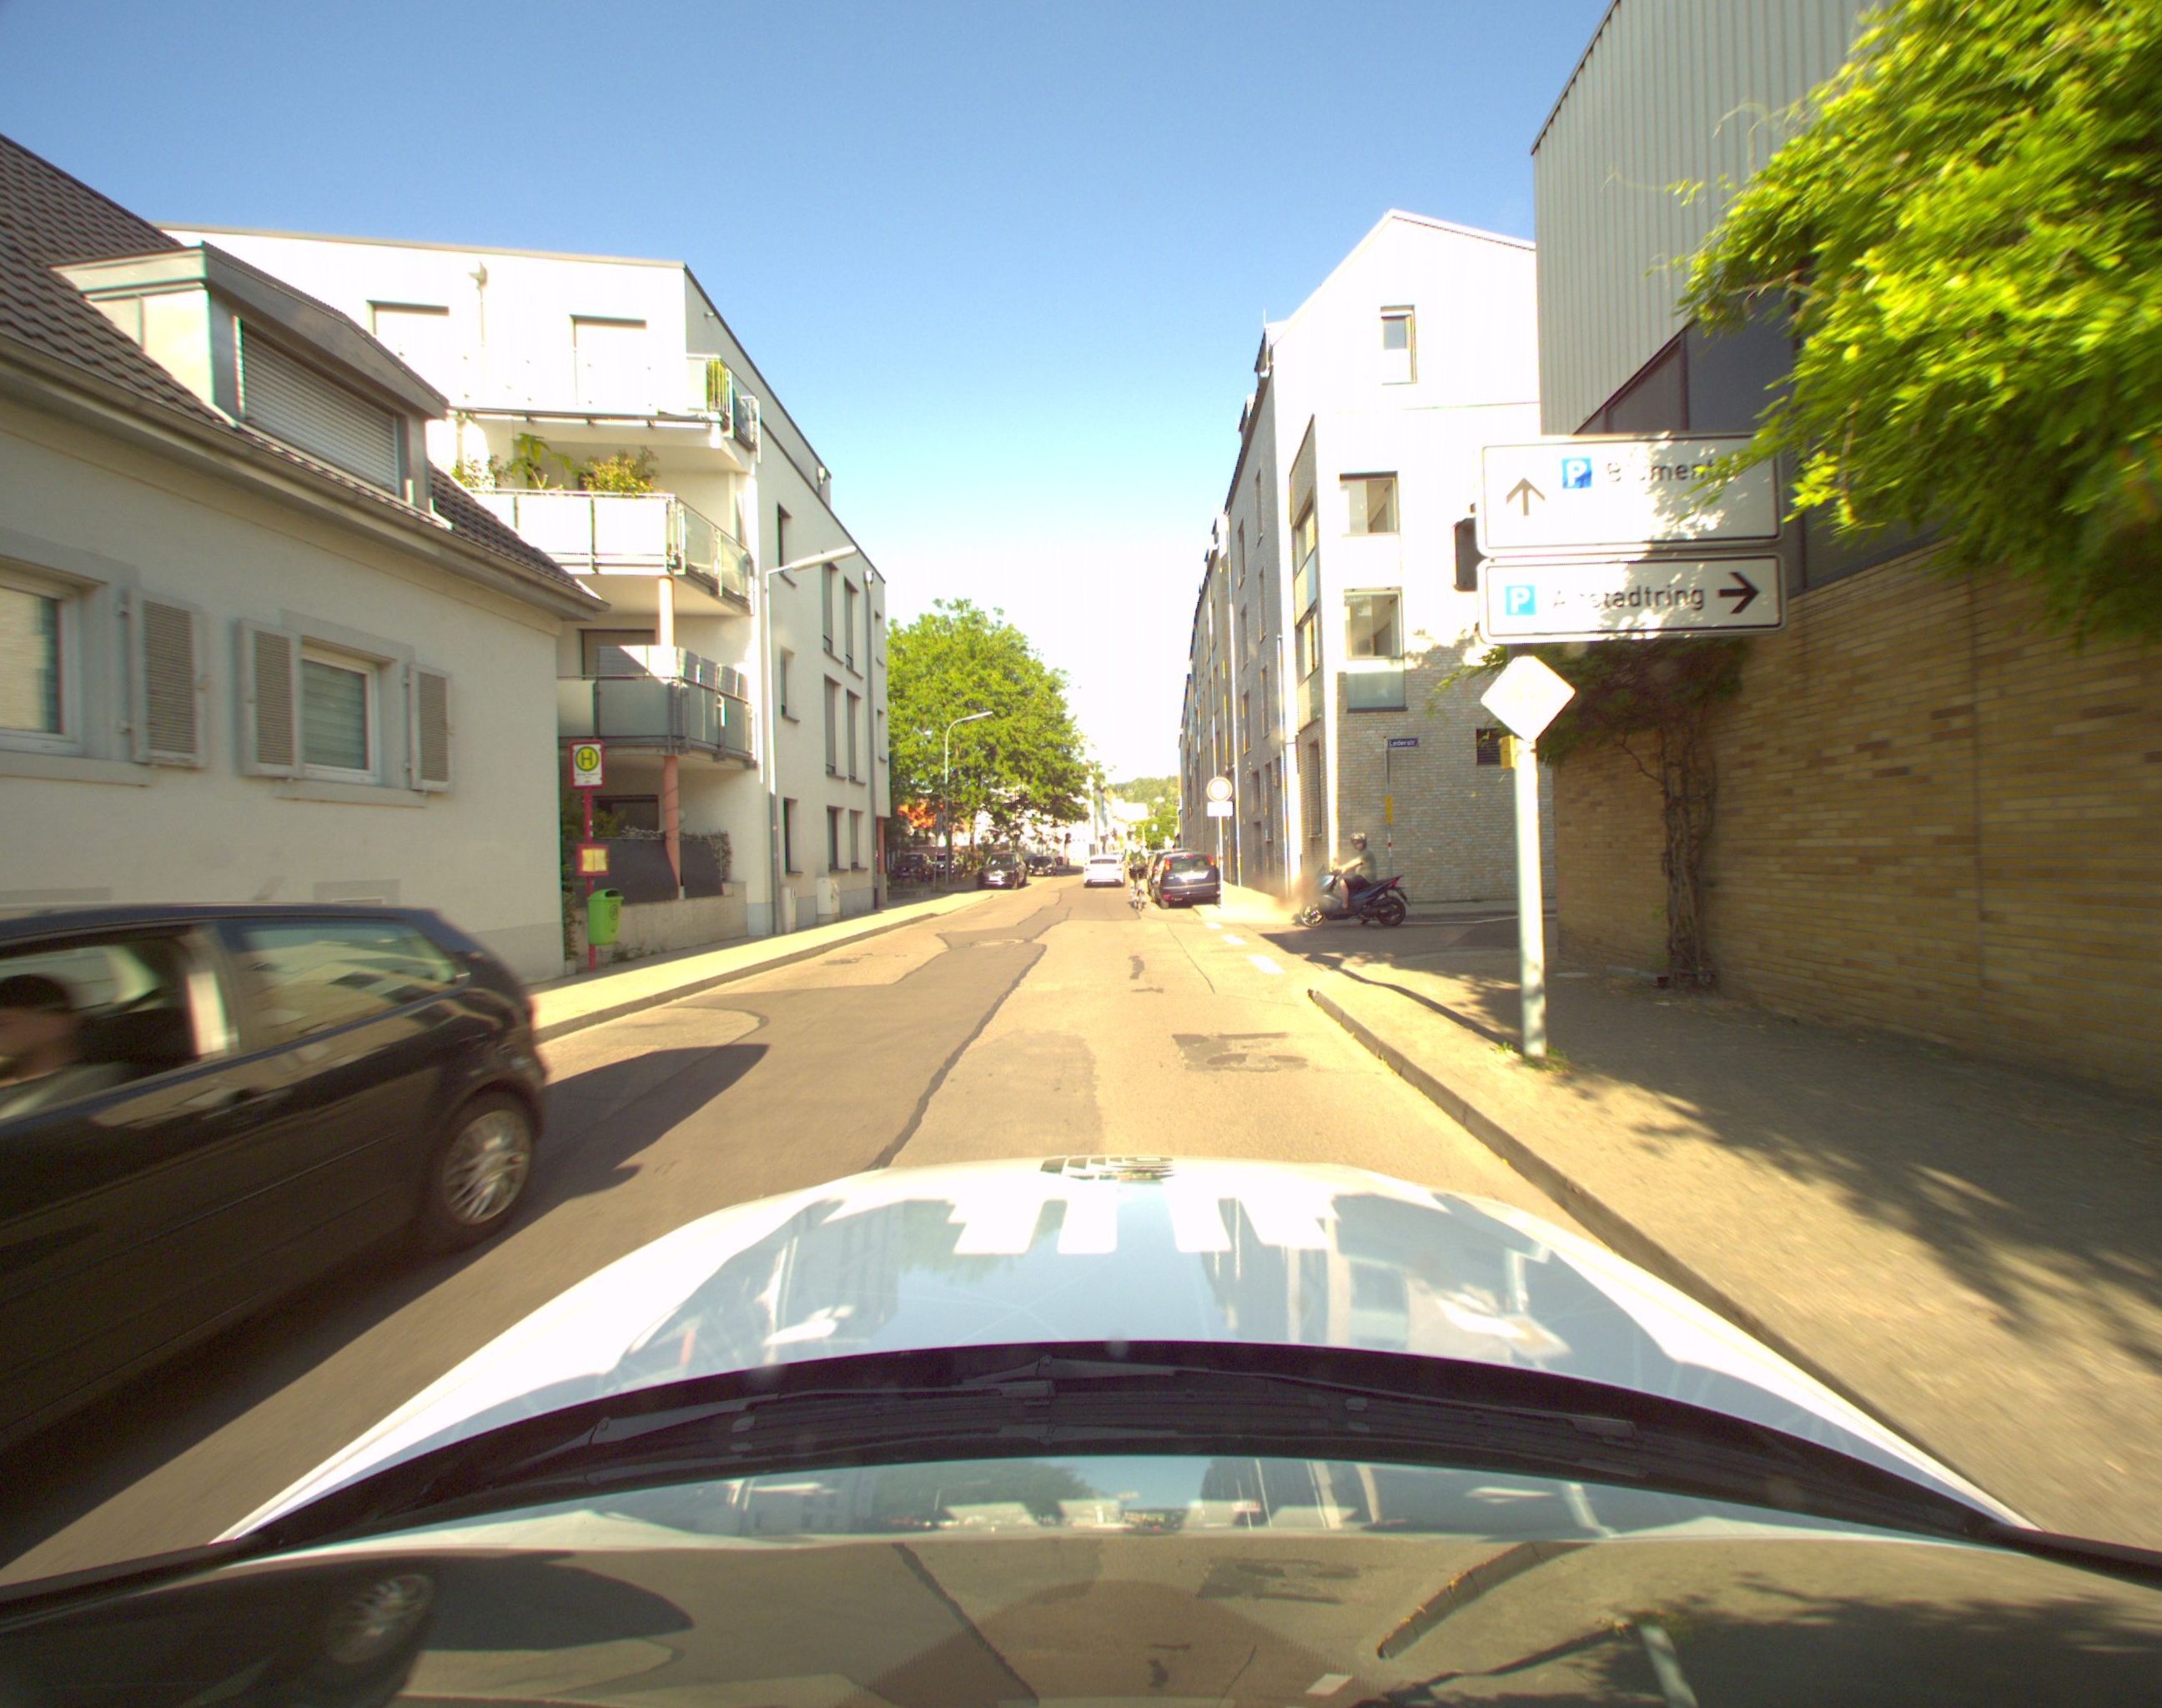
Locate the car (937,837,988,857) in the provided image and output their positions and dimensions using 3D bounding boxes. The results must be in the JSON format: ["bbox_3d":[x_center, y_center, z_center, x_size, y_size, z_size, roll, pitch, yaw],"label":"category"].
[{"bbox_3d":[-9.856,-0.609,67.837,3.881,1.575,1.713,1,0,6],"label":"car"}]

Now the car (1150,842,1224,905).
[{"bbox_3d":[2.952,0.539,23.391,1.624,1.587,4.070,-2,-1,1],"label":"car"}]

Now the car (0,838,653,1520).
[{"bbox_3d":[-3.293,0.746,2.362,1.836,1.491,4.144,-2,-1,1],"label":"car"}]

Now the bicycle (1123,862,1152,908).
[{"bbox_3d":[1.471,0.792,21.426,0.695,1.130,2.404,1,-1,3],"label":"bicycle"}]

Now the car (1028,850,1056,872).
[{"bbox_3d":[-2.787,0.502,59.148,1.698,1.575,3.914,1,0,1],"label":"car"}]

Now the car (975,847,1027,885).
[{"bbox_3d":[-3.913,0.567,40.522,1.845,1.791,4.610,1,0,3],"label":"car"}]

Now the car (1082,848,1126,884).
[{"bbox_3d":[0.996,0.547,36.643,1.836,1.491,4.144,1,-1,0],"label":"car"}]

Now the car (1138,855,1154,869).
[{"bbox_3d":[9.206,1.124,115.535,1.847,1.791,4.606,1,0,-1],"label":"car"}]

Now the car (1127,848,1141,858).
[{"bbox_3d":[8.779,-0.101,135.251,1.935,1.587,4.630,-2,-1,7],"label":"car"}]

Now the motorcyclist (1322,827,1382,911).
[{"bbox_3d":[4.959,0.273,14.877,0.868,1.473,0.901,0,-1,30],"label":"motorcyclist"}]

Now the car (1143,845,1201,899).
[{"bbox_3d":[3.056,0.566,27.979,1.658,1.702,3.915,1,0,2],"label":"car"}]

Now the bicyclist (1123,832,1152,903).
[{"bbox_3d":[1.476,0.351,21.333,0.695,1.790,1.041,1,-1,2],"label":"bicyclist"}]

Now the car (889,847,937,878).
[{"bbox_3d":[-9.551,0.444,46.616,1.852,1.587,4.619,3,0,-1],"label":"car"}]

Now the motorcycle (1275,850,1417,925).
[{"bbox_3d":[4.846,0.612,14.938,2.312,1.281,0.901,-2,-2,30],"label":"motorcycle"}]

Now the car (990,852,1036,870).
[{"bbox_3d":[-6.089,0.617,73.272,3.884,1.575,1.711,1,0,4],"label":"car"}]

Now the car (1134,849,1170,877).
[{"bbox_3d":[4.245,0.543,49.184,1.851,1.587,4.623,-2,-1,2],"label":"car"}]

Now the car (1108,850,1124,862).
[{"bbox_3d":[4.942,0.302,114.975,1.936,1.587,4.627,-2,-1,5],"label":"car"}]

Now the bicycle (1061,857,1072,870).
[{"bbox_3d":[-1.317,0.851,74.002,0.832,1.217,2.842,1,0,1],"label":"bicycle"}]

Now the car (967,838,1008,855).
[{"bbox_3d":[-9.157,-0.699,79.837,3.896,1.575,1.706,1,0,-6],"label":"car"}]

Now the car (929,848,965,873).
[{"bbox_3d":[-9.454,0.445,57.588,1.784,1.689,3.964,3,0,0],"label":"car"}]
